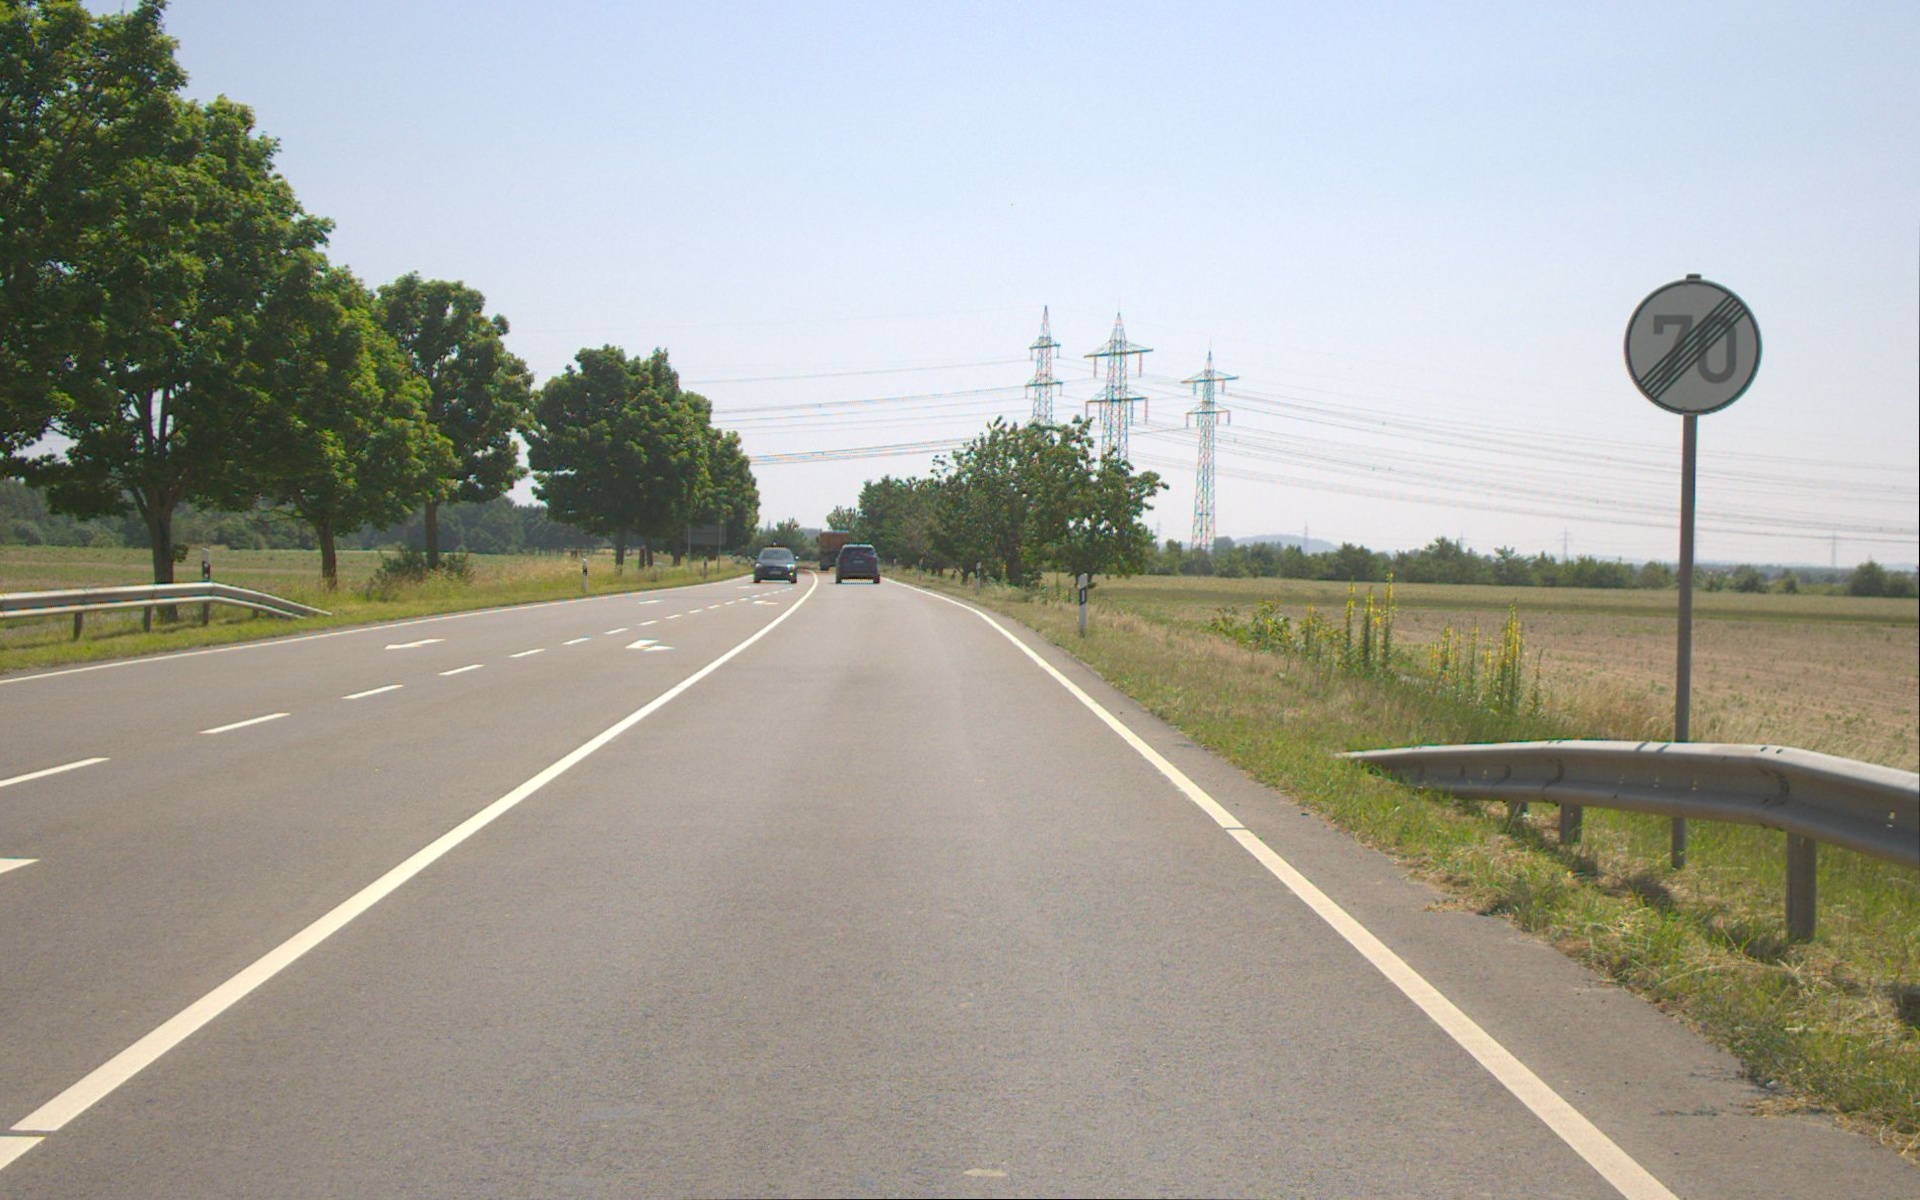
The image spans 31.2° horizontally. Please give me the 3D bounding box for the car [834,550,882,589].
[{"bbox_3d":[-4.405,-1.321,147.967,1.884,1.513,4.040,4,1,-3],"label":"car"}]

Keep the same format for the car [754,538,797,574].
[{"bbox_3d":[-7.776,-1.866,144.893,1.739,1.468,4.619,1,1,-3],"label":"car"}]
